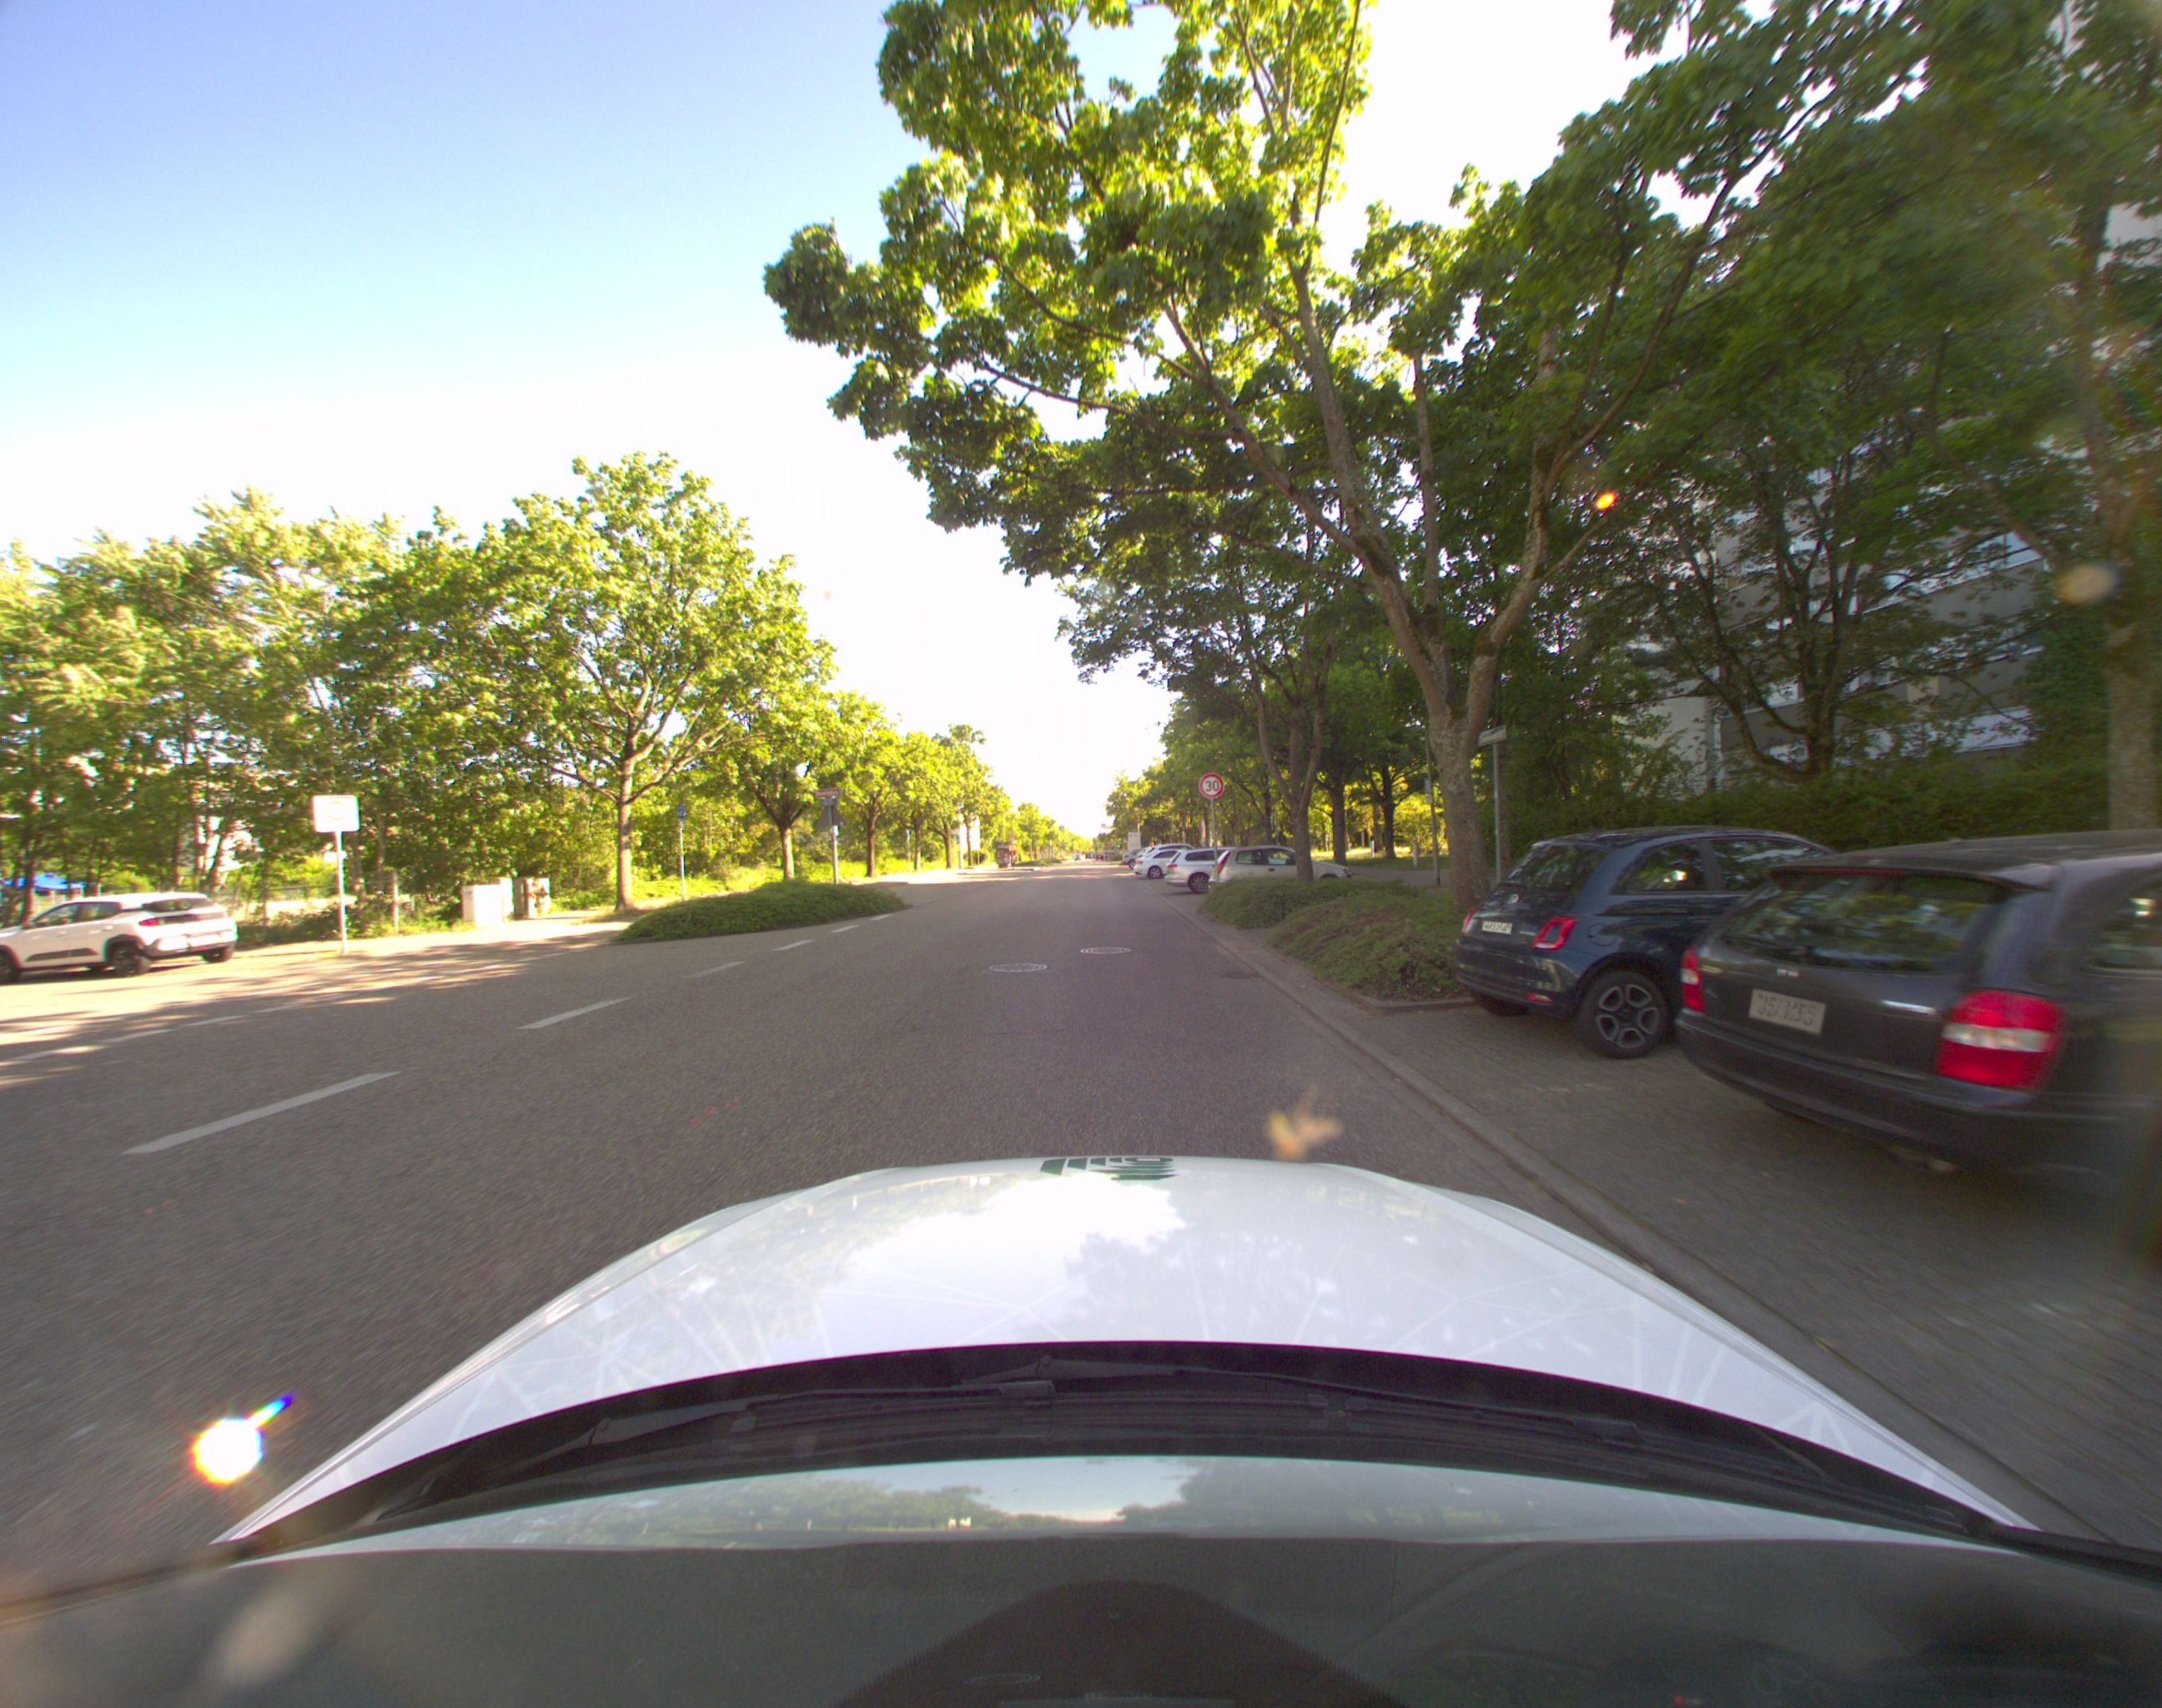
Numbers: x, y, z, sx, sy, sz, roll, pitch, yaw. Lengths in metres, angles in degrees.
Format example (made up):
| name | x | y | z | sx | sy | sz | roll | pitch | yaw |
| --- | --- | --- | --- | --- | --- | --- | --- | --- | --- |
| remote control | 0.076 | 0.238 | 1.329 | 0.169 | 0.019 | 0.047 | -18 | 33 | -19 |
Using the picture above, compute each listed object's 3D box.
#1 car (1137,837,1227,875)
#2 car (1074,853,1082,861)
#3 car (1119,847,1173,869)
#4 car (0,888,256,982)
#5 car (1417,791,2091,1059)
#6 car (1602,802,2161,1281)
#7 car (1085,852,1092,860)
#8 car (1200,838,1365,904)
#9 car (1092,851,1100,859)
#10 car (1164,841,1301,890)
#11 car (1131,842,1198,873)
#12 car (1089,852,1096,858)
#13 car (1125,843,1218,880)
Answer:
| name | x | y | z | sx | sy | sz | roll | pitch | yaw |
| --- | --- | --- | --- | --- | --- | --- | --- | --- | --- |
| car | 5.333 | 0.095 | 43.339 | 4.422 | 1.647 | 1.815 | -5 | 0 | -1 |
| car | -0.673 | 0.598 | 181.397 | 1.822 | 1.775 | 3.741 | -1 | 0 | 1 |
| car | 5.159 | 0.317 | 65.010 | 4.150 | 1.428 | 2.000 | -5 | 0 | 0 |
| car | -18.746 | 1.543 | 15.675 | 4.061 | 1.450 | 1.626 | -4 | 0 | 2 |
| car | 4.878 | 0.457 | 6.280 | 3.799 | 1.499 | 1.700 | -4 | 0 | -3 |
| car | 4.841 | 0.503 | 3.498 | 3.973 | 1.387 | 1.822 | -5 | 0 | 0 |
| car | 2.052 | 0.593 | 228.910 | 1.986 | 2.013 | 4.001 | -1 | 0 | 1 |
| car | 5.341 | 0.430 | 21.907 | 3.973 | 1.451 | 1.717 | -4 | 0 | 1 |
| car | 3.819 | 0.327 | 203.558 | 1.986 | 2.013 | 4.001 | -1 | 0 | 1 |
| car | 4.874 | 0.367 | 26.710 | 4.253 | 1.428 | 1.830 | -2 | 0 | 5 |
| car | 4.921 | 0.180 | 48.252 | 3.678 | 1.522 | 1.650 | -4 | 0 | -1 |
| car | 3.408 | 0.305 | 248.219 | 1.986 | 2.013 | 4.001 | -1 | 0 | 1 |
| car | 4.467 | 0.357 | 40.644 | 4.330 | 1.489 | 1.737 | -4 | 0 | -1 |
